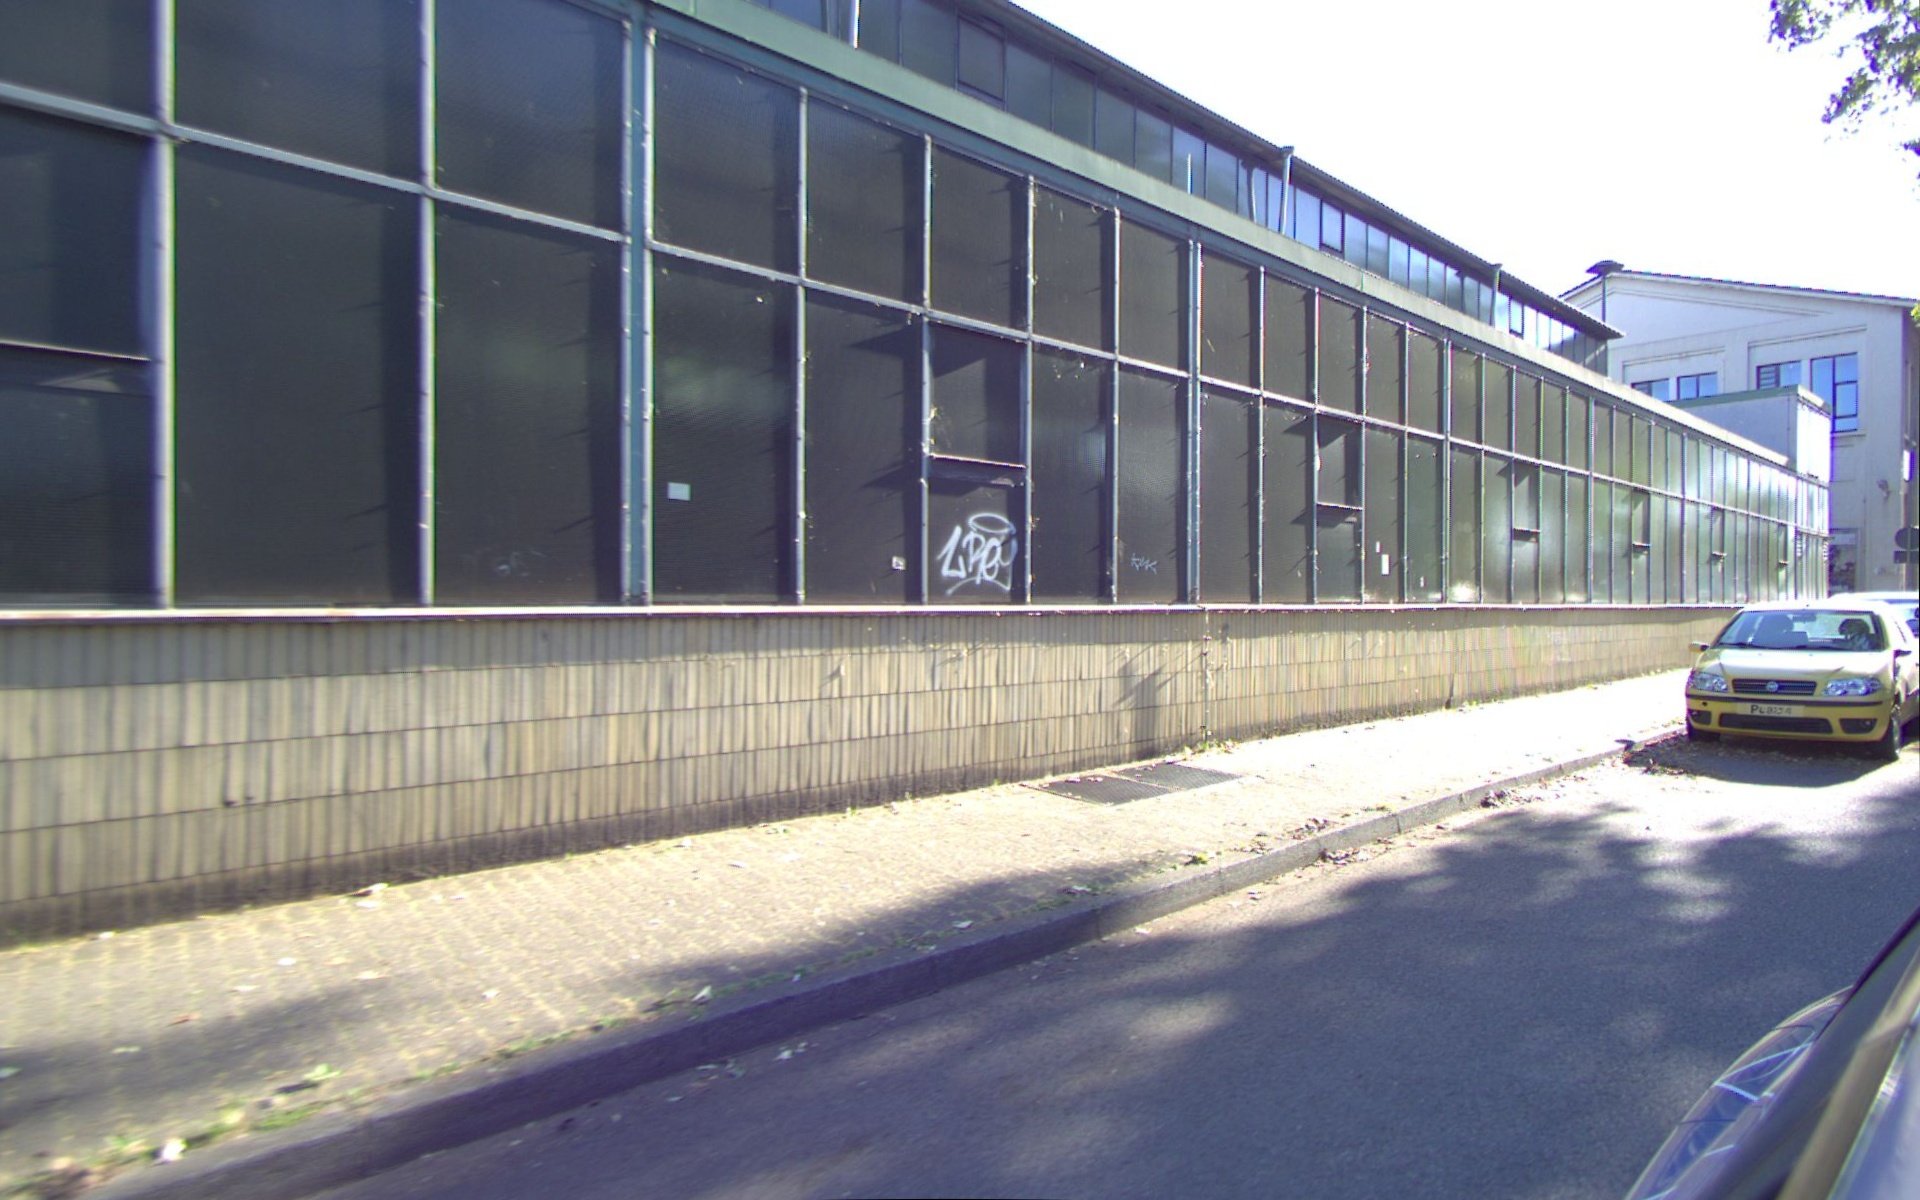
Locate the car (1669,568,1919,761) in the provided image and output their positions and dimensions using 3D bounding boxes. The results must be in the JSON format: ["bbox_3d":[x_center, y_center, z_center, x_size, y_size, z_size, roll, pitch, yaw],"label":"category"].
[{"bbox_3d":[9.067,0.537,10.700,3.934,1.655,1.752,-1,0,-43],"label":"car"}]

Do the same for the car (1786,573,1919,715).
[{"bbox_3d":[12.624,0.486,13.490,4.234,1.655,1.753,-1,0,-41],"label":"car"}]

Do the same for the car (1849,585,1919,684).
[{"bbox_3d":[16.538,0.508,17.023,4.452,1.512,1.902,-1,0,-43],"label":"car"}]
